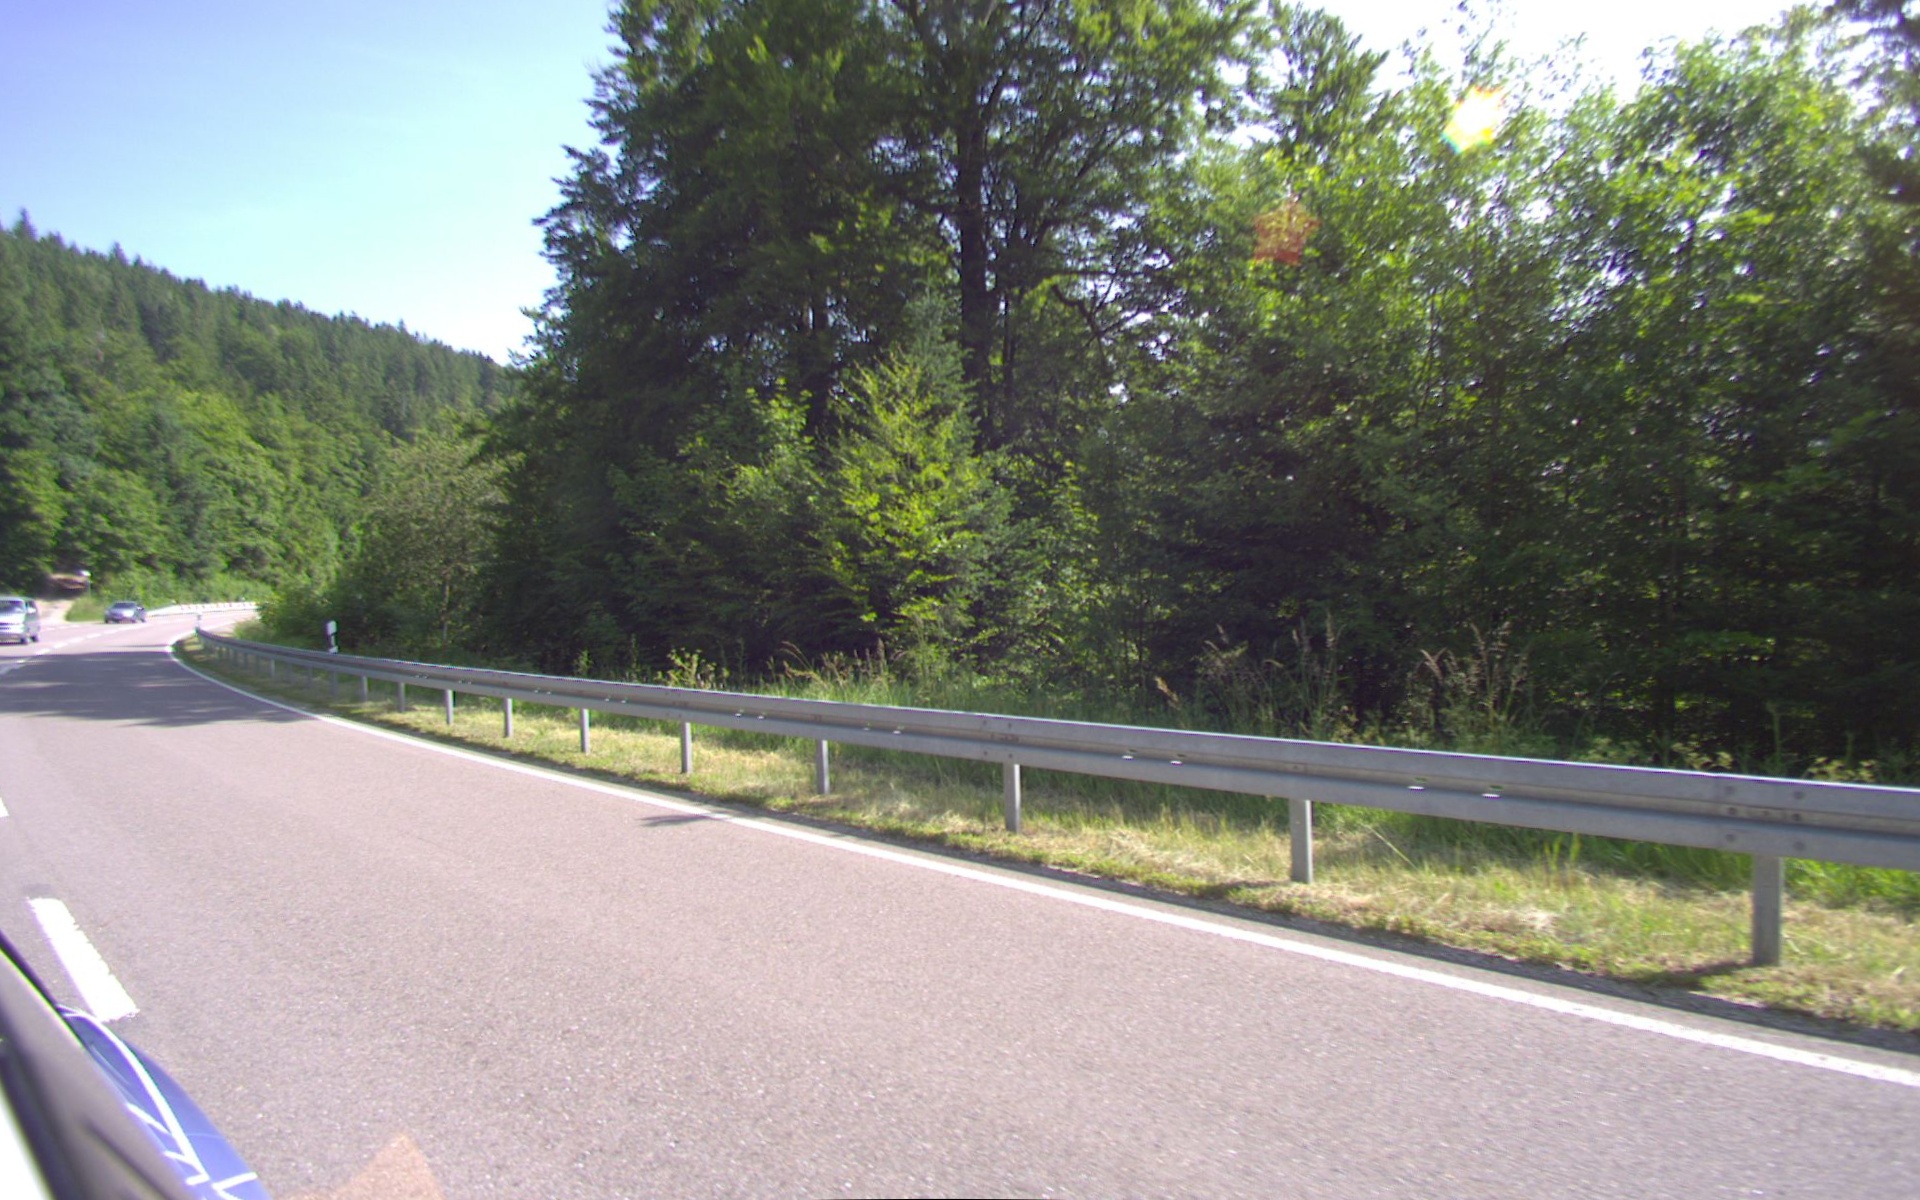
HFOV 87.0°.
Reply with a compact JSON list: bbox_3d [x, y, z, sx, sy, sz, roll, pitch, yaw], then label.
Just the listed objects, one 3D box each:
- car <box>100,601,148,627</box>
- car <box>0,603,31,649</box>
[{"bbox_3d":[-56.738,0.945,68.737,1.966,1.655,4.011,-1,0,-32],"label":"car"},{"bbox_3d":[-38.550,1.018,40.589,1.628,1.772,3.802,0,0,-39],"label":"car"}]
